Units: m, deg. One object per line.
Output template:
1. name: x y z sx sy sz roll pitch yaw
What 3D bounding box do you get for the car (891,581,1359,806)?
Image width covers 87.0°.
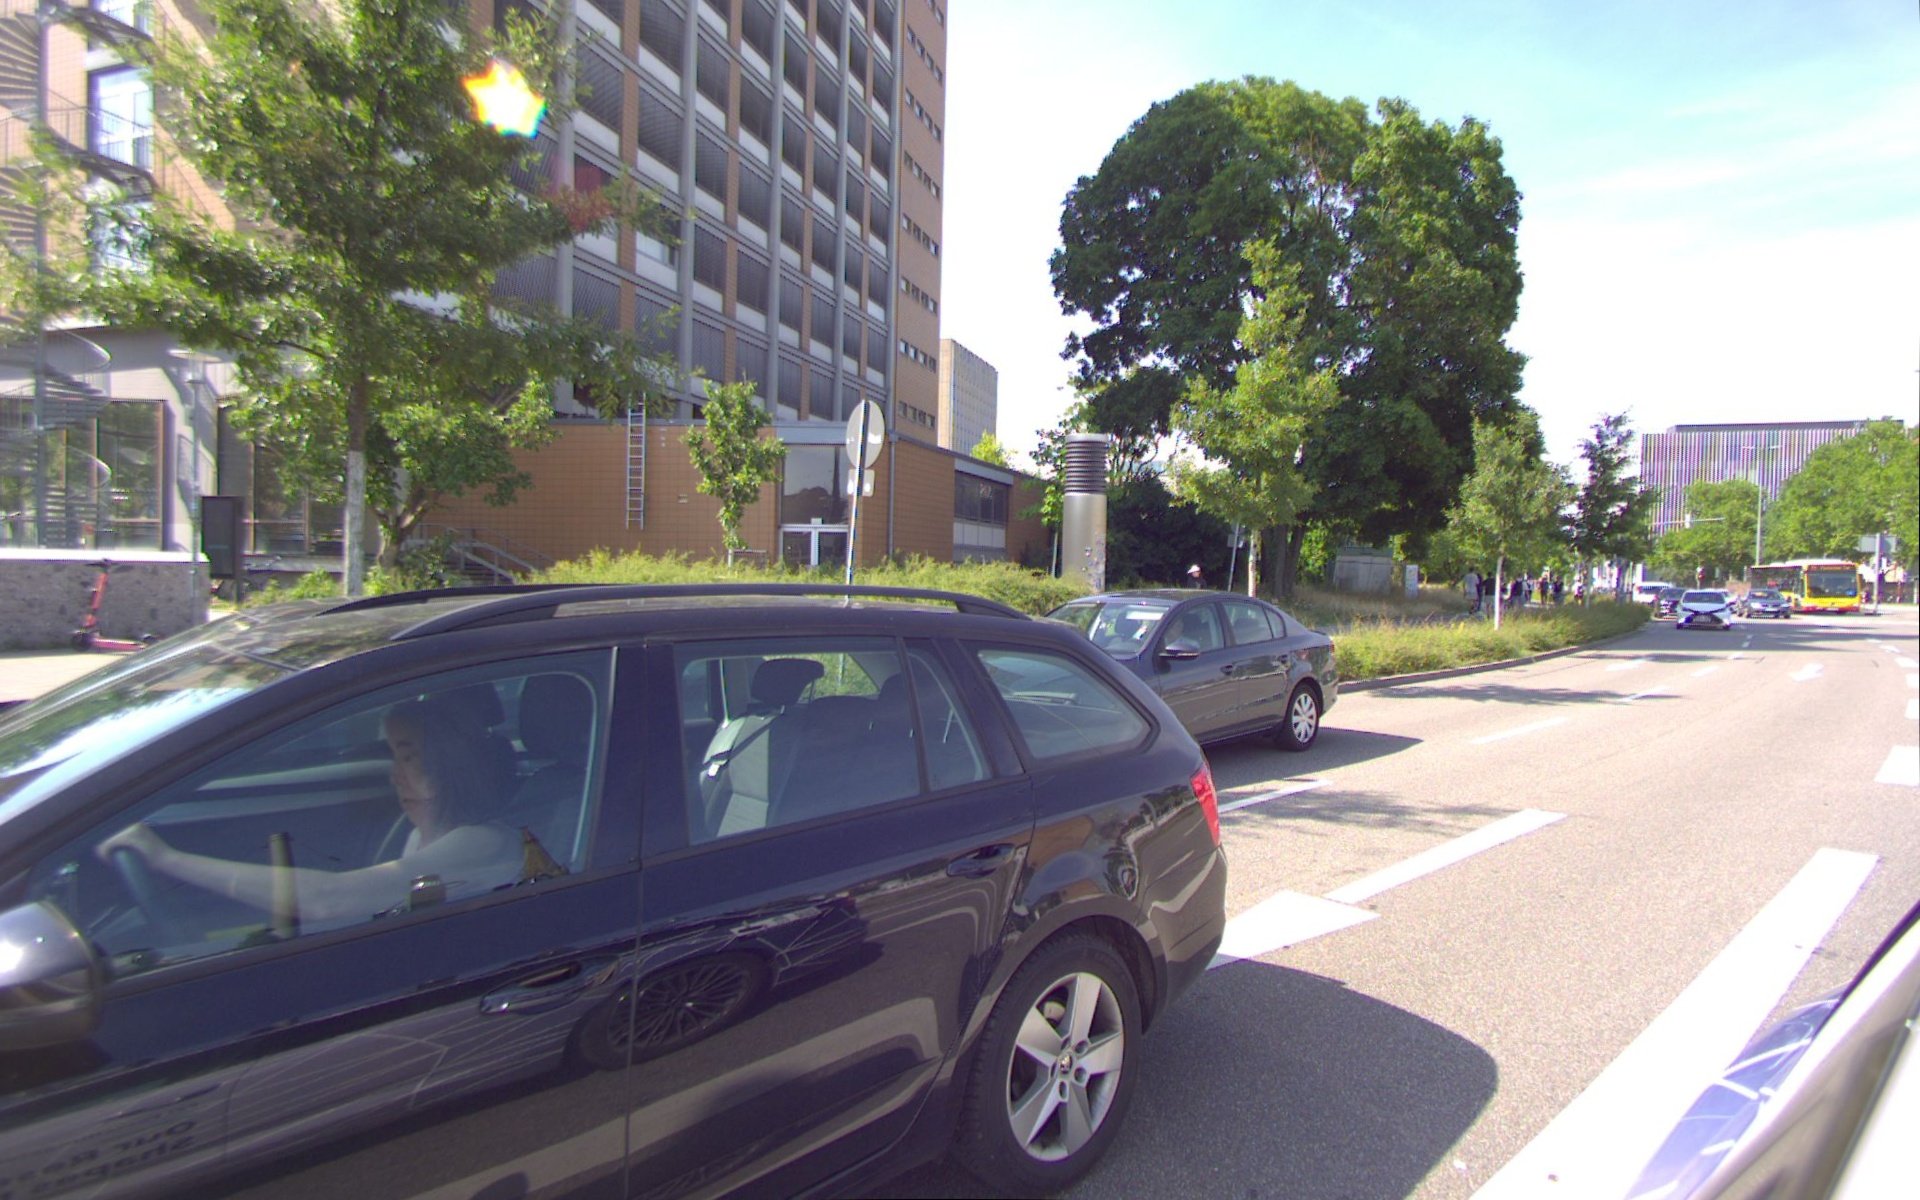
1. car: 1.643 0.577 8.790 4.452 1.453 1.633 -1 2 -43

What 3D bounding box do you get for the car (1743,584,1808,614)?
1. car: 40.924 -0.057 50.886 1.634 1.442 4.084 -1 1 26

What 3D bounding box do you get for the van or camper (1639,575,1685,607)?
1. van or camper: 43.033 -0.582 62.101 1.714 1.911 4.875 -1 1 28

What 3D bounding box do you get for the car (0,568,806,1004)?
1. car: -3.001 0.604 4.834 1.701 1.447 4.327 2 2 44

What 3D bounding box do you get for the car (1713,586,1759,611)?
1. car: 45.723 -0.119 59.683 1.478 1.309 3.452 5 3 28

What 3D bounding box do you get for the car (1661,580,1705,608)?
1. car: 35.245 -0.317 49.400 1.398 1.311 3.543 2 2 30

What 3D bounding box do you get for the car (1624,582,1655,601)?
1. car: 49.321 -0.628 73.526 1.477 1.310 3.452 2 2 28

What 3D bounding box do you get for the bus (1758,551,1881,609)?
1. bus: 50.207 -1.175 59.525 2.771 3.076 12.033 2 2 27

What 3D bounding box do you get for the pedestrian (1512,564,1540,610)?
1. pedestrian: 21.425 -0.512 38.321 0.739 1.694 0.643 -1 4 -41

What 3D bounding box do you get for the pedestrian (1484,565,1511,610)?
1. pedestrian: 20.481 -0.487 38.573 0.719 1.646 0.643 -1 4 -41

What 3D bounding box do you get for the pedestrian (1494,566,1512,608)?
1. pedestrian: 23.411 -0.580 43.637 0.638 1.785 0.470 3 3 28

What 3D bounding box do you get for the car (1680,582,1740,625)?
1. car: 27.848 0.091 37.657 1.672 1.493 3.713 0 1 35

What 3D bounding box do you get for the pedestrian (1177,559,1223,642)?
1. pedestrian: 5.050 -0.001 21.269 0.719 1.684 0.592 -1 4 -41

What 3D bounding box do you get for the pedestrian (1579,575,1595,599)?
1. pedestrian: 32.033 -0.676 51.717 0.639 1.145 0.743 3 3 33

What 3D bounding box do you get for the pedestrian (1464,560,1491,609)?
1. pedestrian: 20.003 -0.596 39.120 0.719 1.860 0.643 -1 4 -41

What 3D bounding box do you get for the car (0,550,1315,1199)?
1. car: -1.156 0.646 2.177 4.699 1.453 1.633 -1 2 -43

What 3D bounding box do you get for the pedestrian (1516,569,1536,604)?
1. pedestrian: 24.178 -0.574 43.244 0.638 1.464 0.564 3 3 28
